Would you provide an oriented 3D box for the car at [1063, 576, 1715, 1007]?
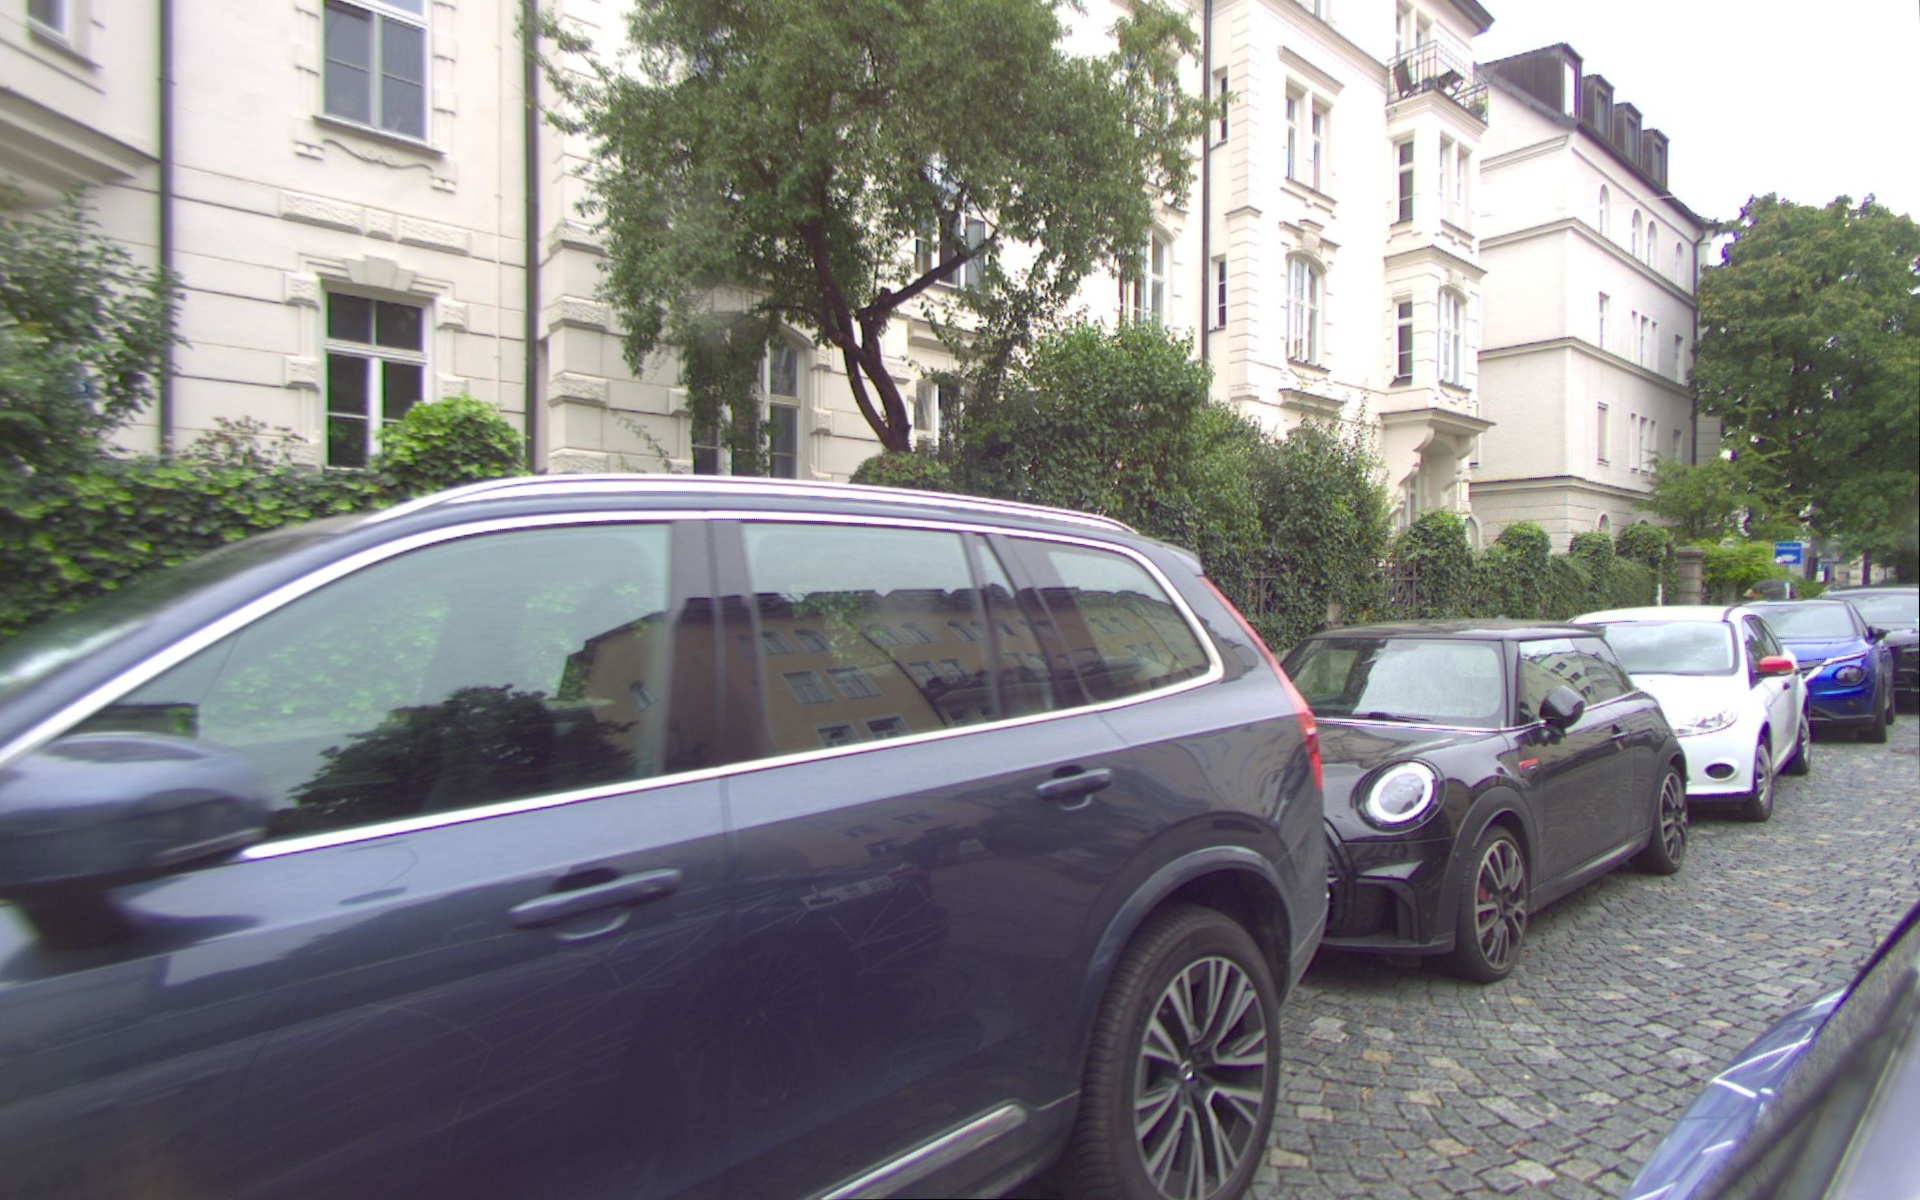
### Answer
[{"bbox_3d":[2.503,0.653,5.411,3.898,1.471,1.685,-1,-1,-42],"label":"car"}]

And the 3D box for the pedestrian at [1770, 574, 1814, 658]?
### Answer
[{"bbox_3d":[18.945,0.357,23.043,0.668,1.873,0.578,0,0,-33],"label":"pedestrian"}]

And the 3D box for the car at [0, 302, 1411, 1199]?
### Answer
[{"bbox_3d":[-1.122,0.593,2.126,4.869,1.781,1.966,-1,0,-42],"label":"car"}]

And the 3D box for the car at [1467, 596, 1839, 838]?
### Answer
[{"bbox_3d":[5.919,0.714,8.407,4.319,1.447,1.774,-1,0,-45],"label":"car"}]

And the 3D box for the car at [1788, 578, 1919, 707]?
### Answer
[{"bbox_3d":[14.432,0.526,15.451,5.395,1.694,1.878,-1,0,-41],"label":"car"}]

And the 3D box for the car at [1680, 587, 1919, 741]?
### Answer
[{"bbox_3d":[10.135,0.645,12.064,4.179,1.501,1.710,-1,-2,-44],"label":"car"}]

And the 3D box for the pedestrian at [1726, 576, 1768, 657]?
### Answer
[{"bbox_3d":[18.219,0.371,23.439,0.624,1.831,0.654,-1,0,26],"label":"pedestrian"}]

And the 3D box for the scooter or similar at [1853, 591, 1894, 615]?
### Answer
[{"bbox_3d":[46.854,0.140,51.921,0.396,1.187,1.611,0,1,-17],"label":"scooter or similar"}]

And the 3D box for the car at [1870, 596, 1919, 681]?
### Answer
[{"bbox_3d":[18.505,0.664,19.005,3.595,1.488,1.632,-1,-2,-41],"label":"car"}]
